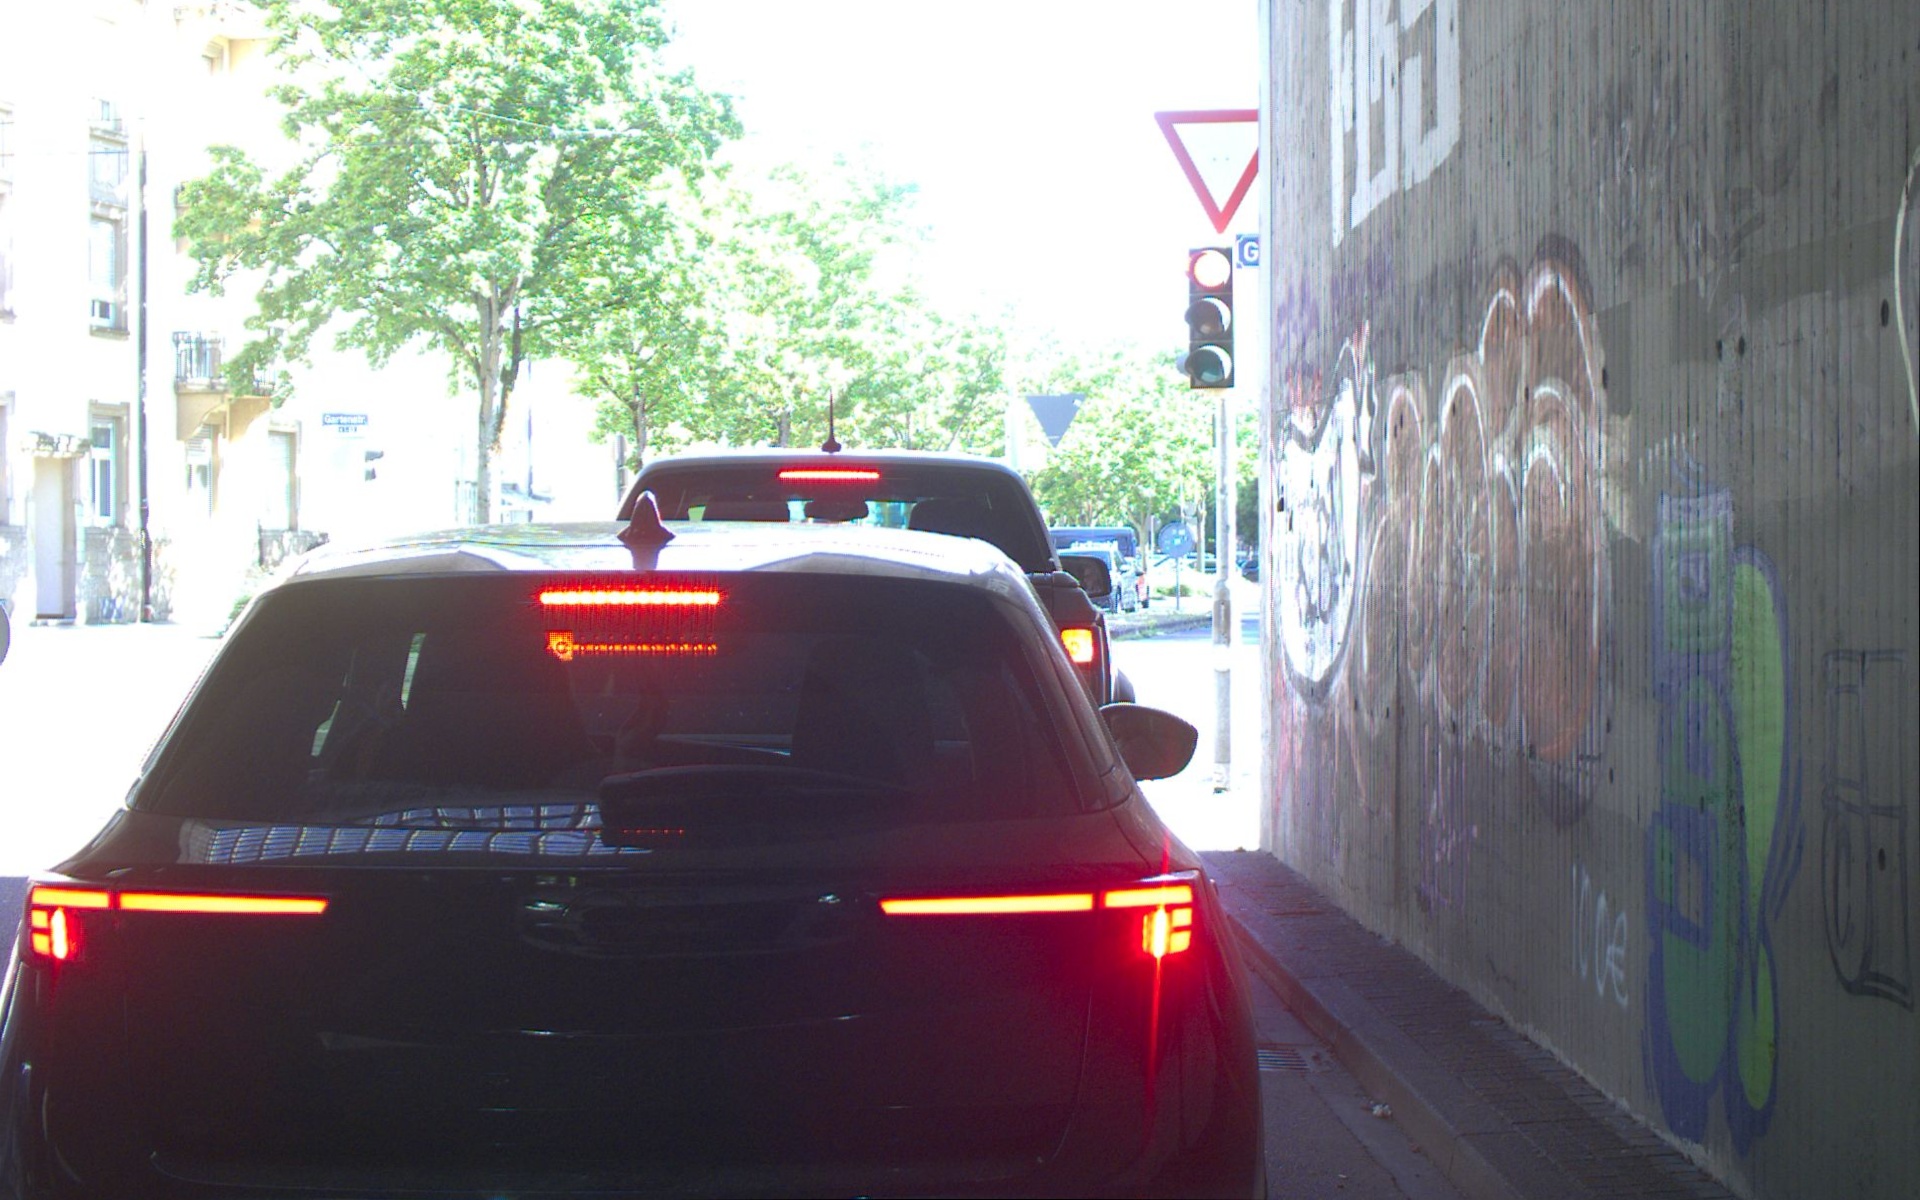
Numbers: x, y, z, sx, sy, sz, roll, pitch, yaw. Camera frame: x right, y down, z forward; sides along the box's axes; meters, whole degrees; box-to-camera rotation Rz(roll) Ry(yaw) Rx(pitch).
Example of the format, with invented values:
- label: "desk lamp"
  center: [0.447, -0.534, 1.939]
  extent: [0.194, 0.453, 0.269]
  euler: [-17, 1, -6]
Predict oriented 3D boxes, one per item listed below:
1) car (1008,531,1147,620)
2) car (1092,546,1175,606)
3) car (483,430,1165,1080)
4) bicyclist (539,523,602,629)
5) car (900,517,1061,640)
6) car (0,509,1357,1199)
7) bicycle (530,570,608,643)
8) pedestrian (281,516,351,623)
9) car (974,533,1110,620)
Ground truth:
- label: "car"
  center: [2.401, -0.462, 68.994]
  extent: [2.221, 1.713, 4.458]
  euler: [0, -1, 10]
- label: "car"
  center: [5.039, -0.701, 99.197]
  extent: [1.994, 1.656, 3.999]
  euler: [1, 1, 8]
- label: "car"
  center: [-0.412, 0.409, 11.881]
  extent: [1.945, 1.853, 3.964]
  euler: [-1, 1, -1]
- label: "bicyclist"
  center: [-5.833, -0.362, 51.531]
  extent: [0.729, 1.576, 0.814]
  euler: [1, 0, 9]
- label: "car"
  center: [0.303, -0.246, 44.163]
  extent: [1.968, 1.492, 3.896]
  euler: [0, -1, 1]
- label: "car"
  center: [-0.492, 0.628, 6.060]
  extent: [1.882, 1.532, 3.964]
  euler: [-1, 1, -1]
- label: "bicycle"
  center: [-5.850, 0.094, 51.505]
  extent: [0.732, 1.064, 1.688]
  euler: [1, 1, 9]
- label: "pedestrian"
  center: [-12.198, -0.577, 65.103]
  extent: [0.992, 2.007, 1.088]
  euler: [0, 1, 8]
- label: "car"
  center: [1.514, -0.404, 62.184]
  extent: [1.969, 1.492, 3.895]
  euler: [0, -1, 9]
